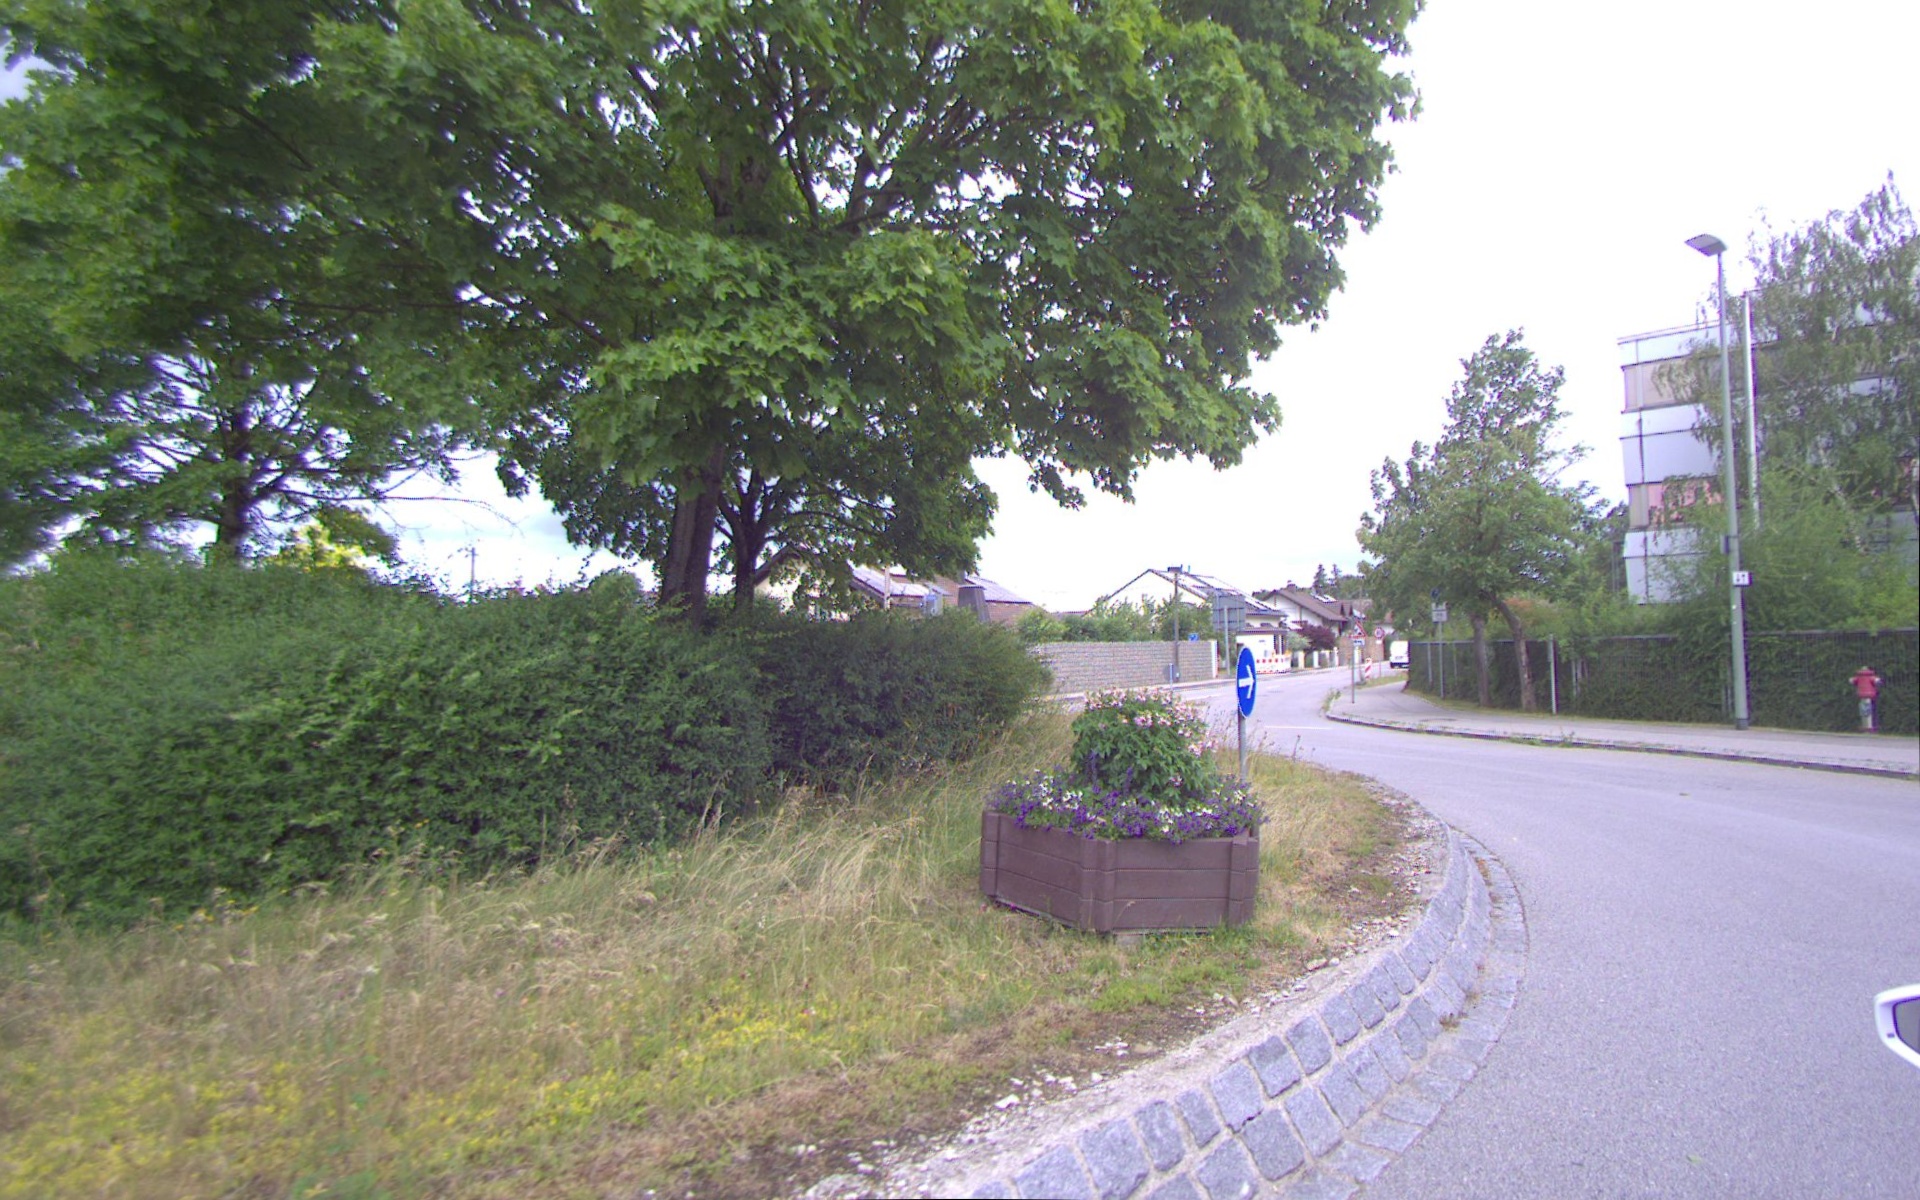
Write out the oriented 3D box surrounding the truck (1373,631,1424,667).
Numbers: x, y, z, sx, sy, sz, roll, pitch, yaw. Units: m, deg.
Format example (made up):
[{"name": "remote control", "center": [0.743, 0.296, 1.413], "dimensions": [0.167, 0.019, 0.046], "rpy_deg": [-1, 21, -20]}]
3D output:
[{"name": "truck", "center": [32.603, 3.636, 74.641], "dimensions": [2.254, 2.532, 5.265], "rpy_deg": [-4, -3, 36]}]
